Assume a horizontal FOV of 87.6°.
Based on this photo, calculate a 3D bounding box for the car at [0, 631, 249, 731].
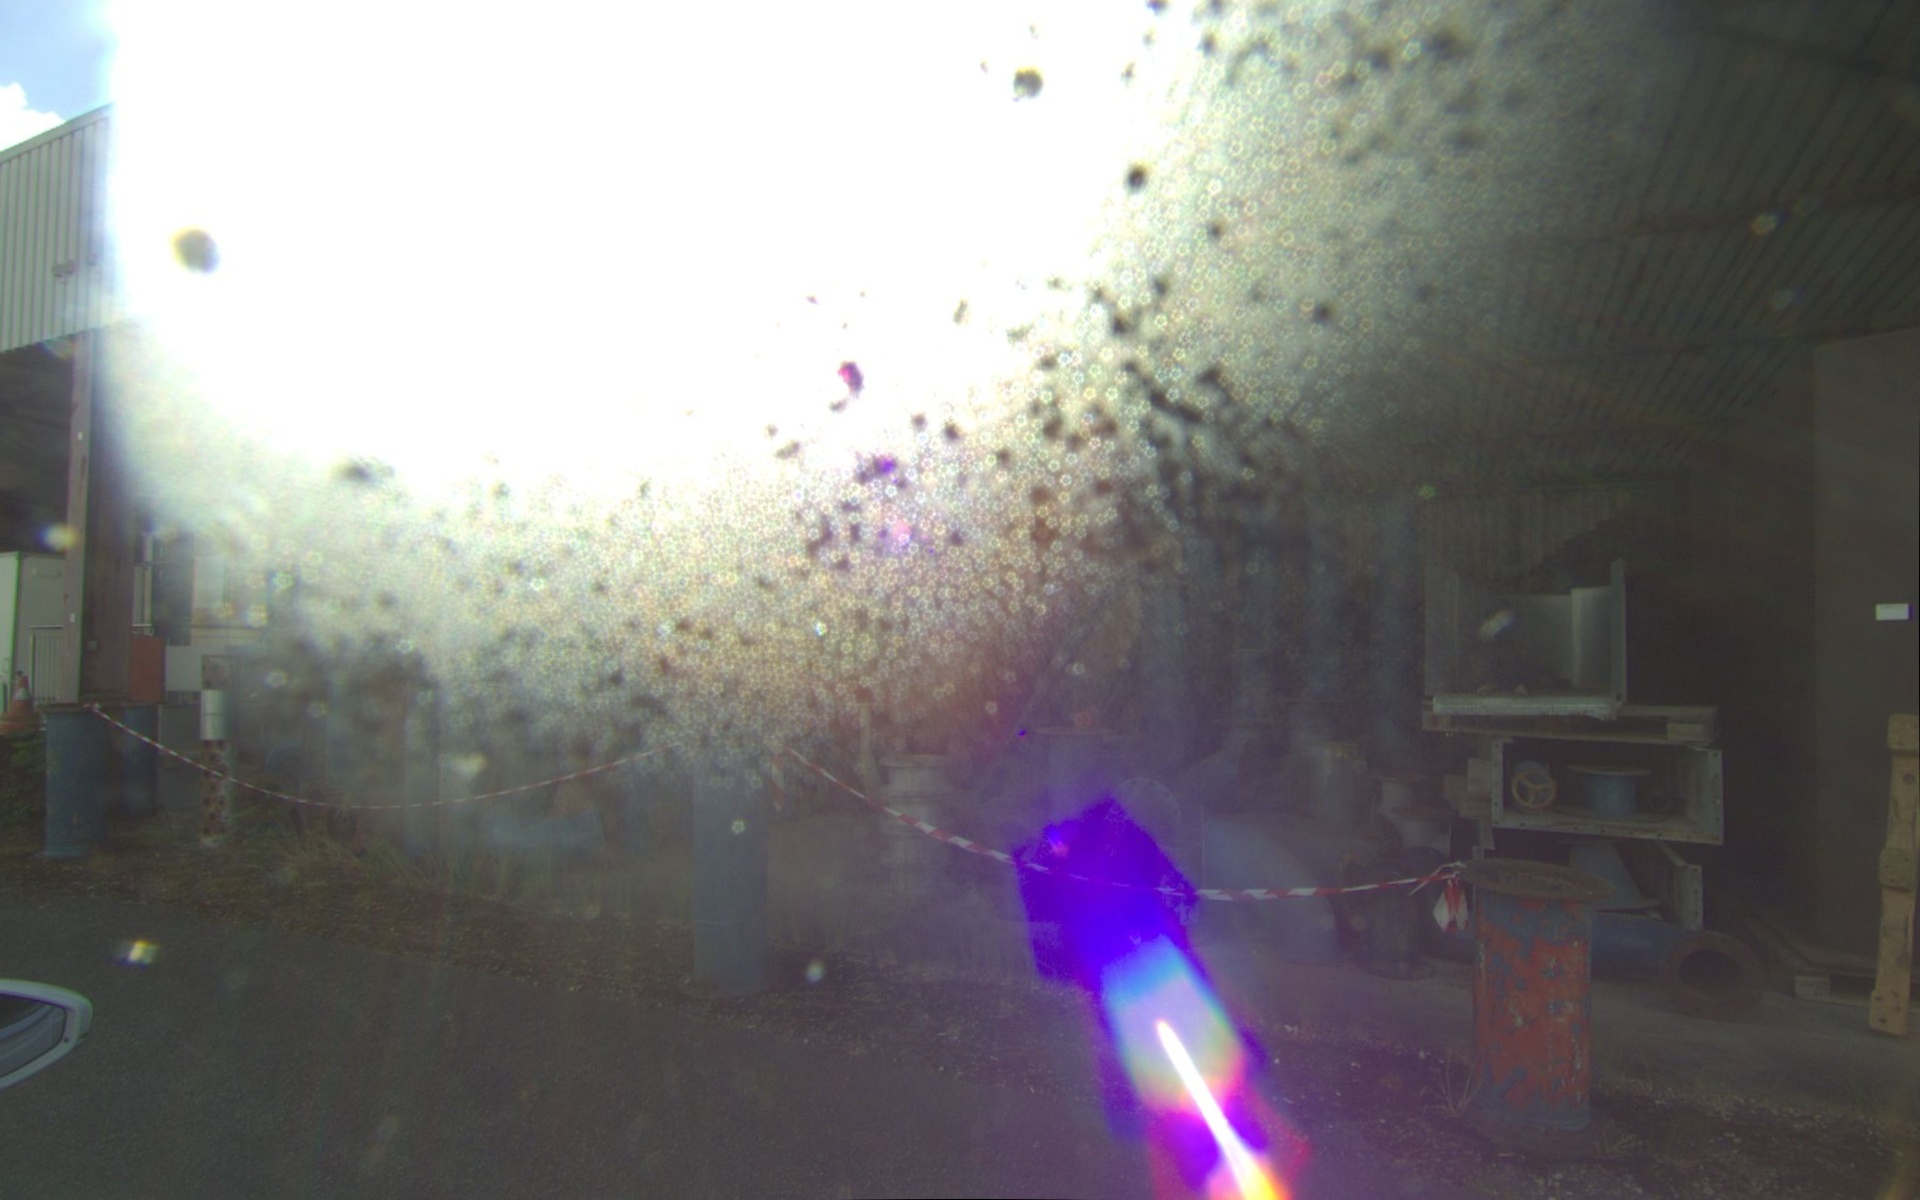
[{"bbox_3d":[-14.373,1.255,16.394,1.820,1.472,4.109,-1,-2,25],"label":"car"}]

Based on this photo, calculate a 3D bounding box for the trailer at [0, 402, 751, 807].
[{"bbox_3d":[-7.020,0.202,13.131,2.632,3.337,10.295,0,-2,26],"label":"trailer"}]

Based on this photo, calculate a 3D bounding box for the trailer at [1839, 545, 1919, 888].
[{"bbox_3d":[6.104,0.640,4.598,2.015,2.022,4.815,-1,-2,28],"label":"trailer"}]

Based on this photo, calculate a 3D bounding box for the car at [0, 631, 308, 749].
[{"bbox_3d":[-12.043,1.183,14.282,1.833,1.451,4.349,-1,-2,22],"label":"car"}]

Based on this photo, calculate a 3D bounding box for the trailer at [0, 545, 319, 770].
[{"bbox_3d":[-10.380,0.647,11.818,1.661,2.365,4.542,0,-2,26],"label":"trailer"}]

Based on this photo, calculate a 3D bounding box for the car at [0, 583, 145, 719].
[{"bbox_3d":[-17.524,0.866,17.094,2.050,2.326,5.220,-1,-3,24],"label":"car"}]
